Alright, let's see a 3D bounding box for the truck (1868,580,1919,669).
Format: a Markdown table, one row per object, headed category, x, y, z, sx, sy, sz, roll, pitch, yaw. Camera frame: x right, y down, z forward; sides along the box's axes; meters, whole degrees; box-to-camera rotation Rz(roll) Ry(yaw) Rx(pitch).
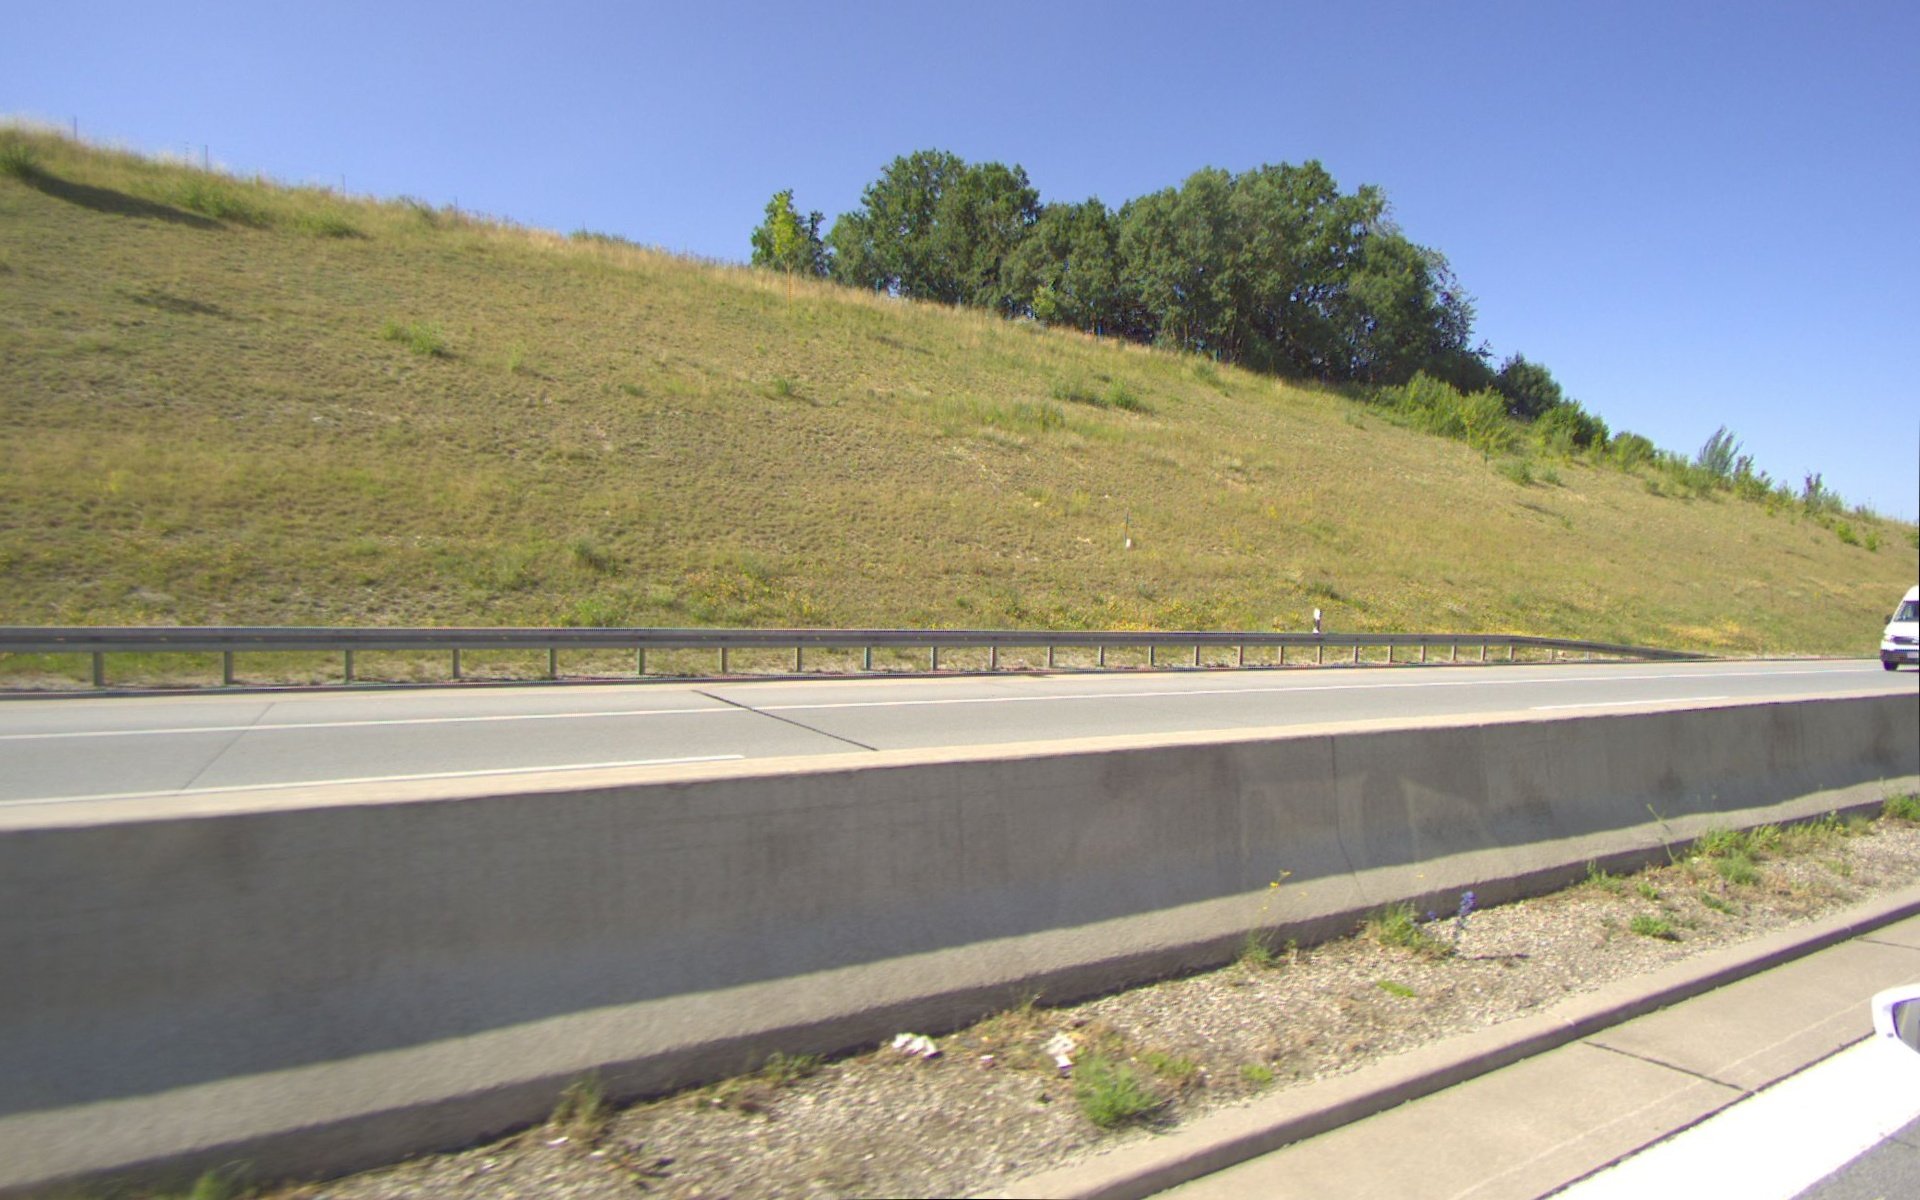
| category | x | y | z | sx | sy | sz | roll | pitch | yaw |
| --- | --- | --- | --- | --- | --- | --- | --- | --- | --- |
| truck | 29.532 | 0.742 | 29.896 | 5.884 | 2.493 | 2.101 | 1 | 1 | -32 |
